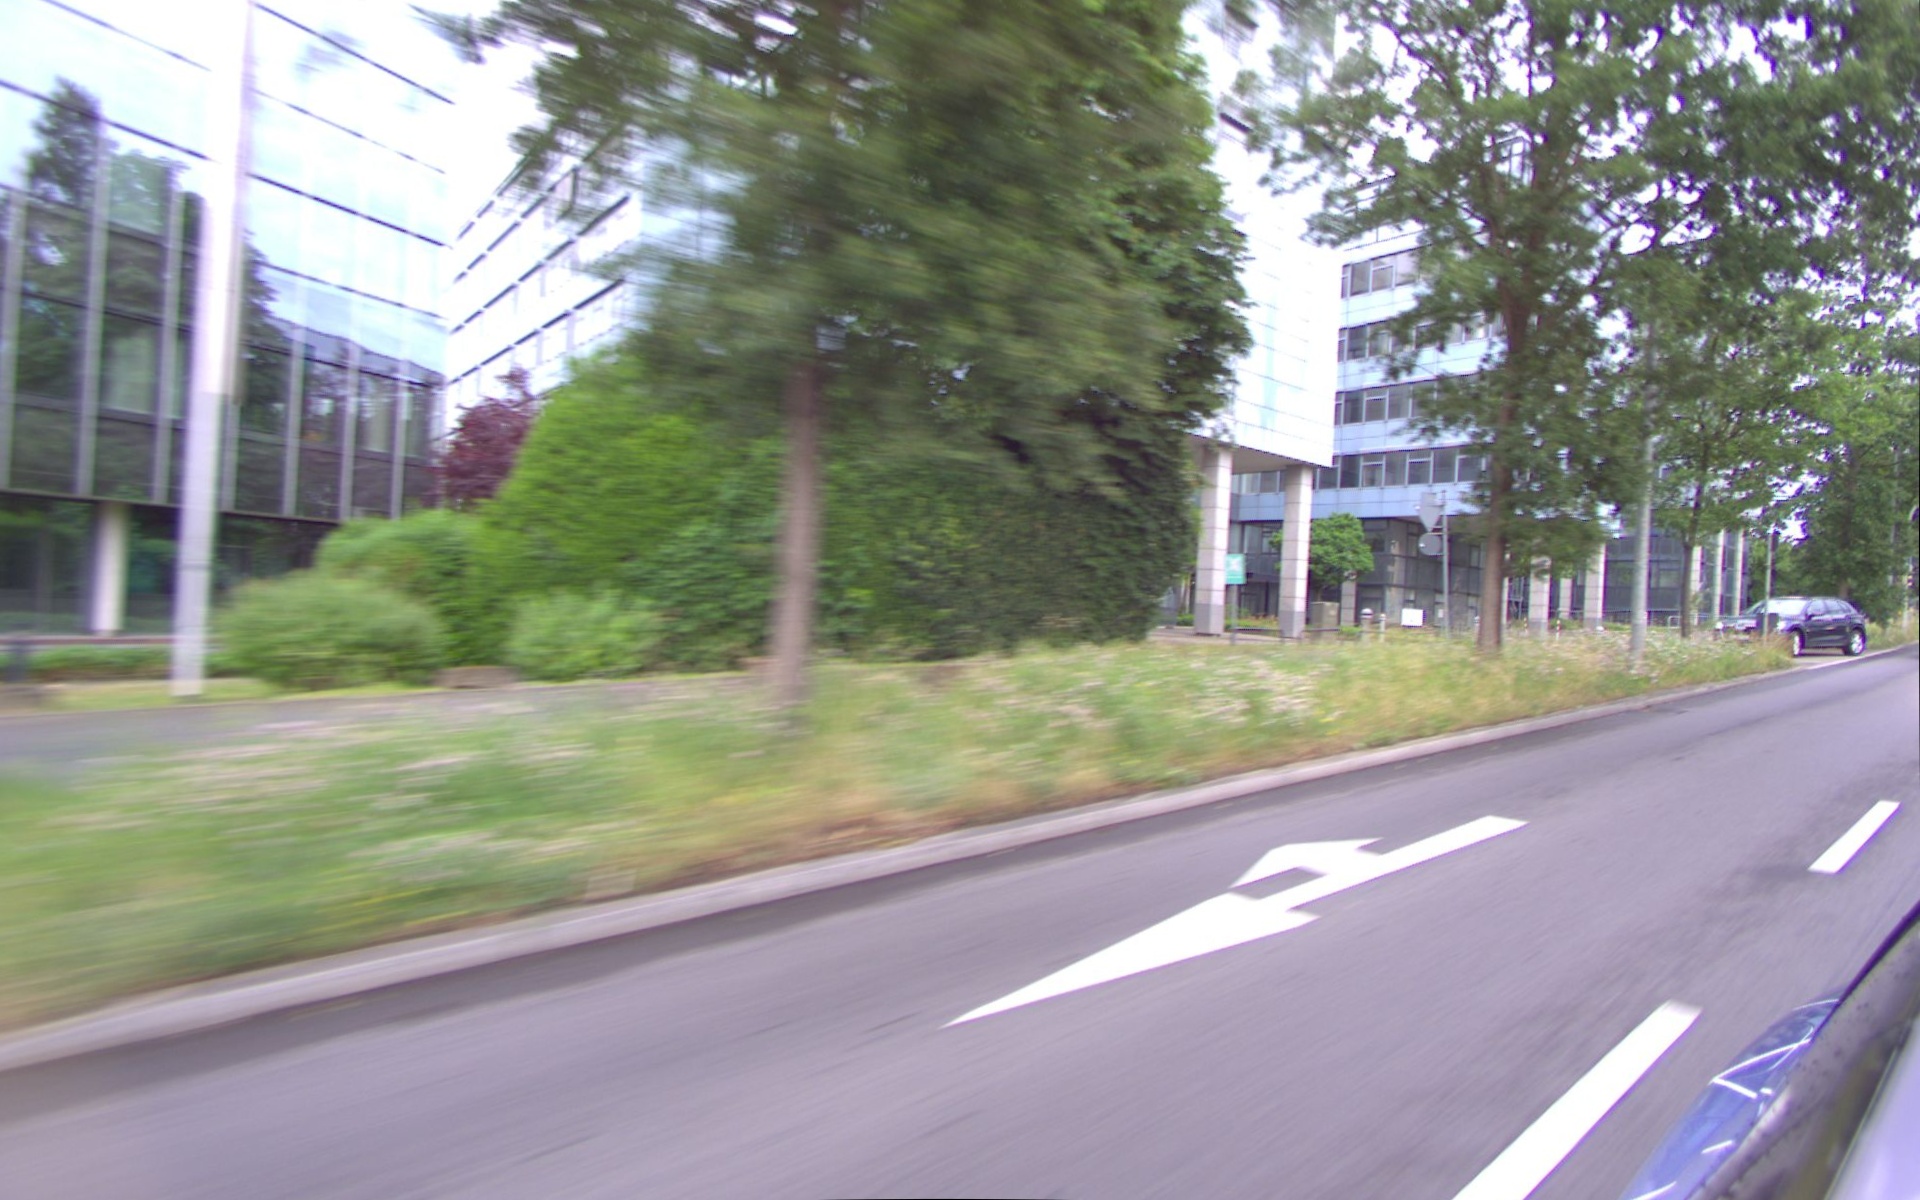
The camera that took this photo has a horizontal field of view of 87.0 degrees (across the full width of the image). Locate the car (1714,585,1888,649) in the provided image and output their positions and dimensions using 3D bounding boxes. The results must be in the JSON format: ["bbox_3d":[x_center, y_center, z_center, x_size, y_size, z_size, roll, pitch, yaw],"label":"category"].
[{"bbox_3d":[23.474,0.464,28.250,4.278,1.691,1.821,1,0,-20],"label":"car"}]
